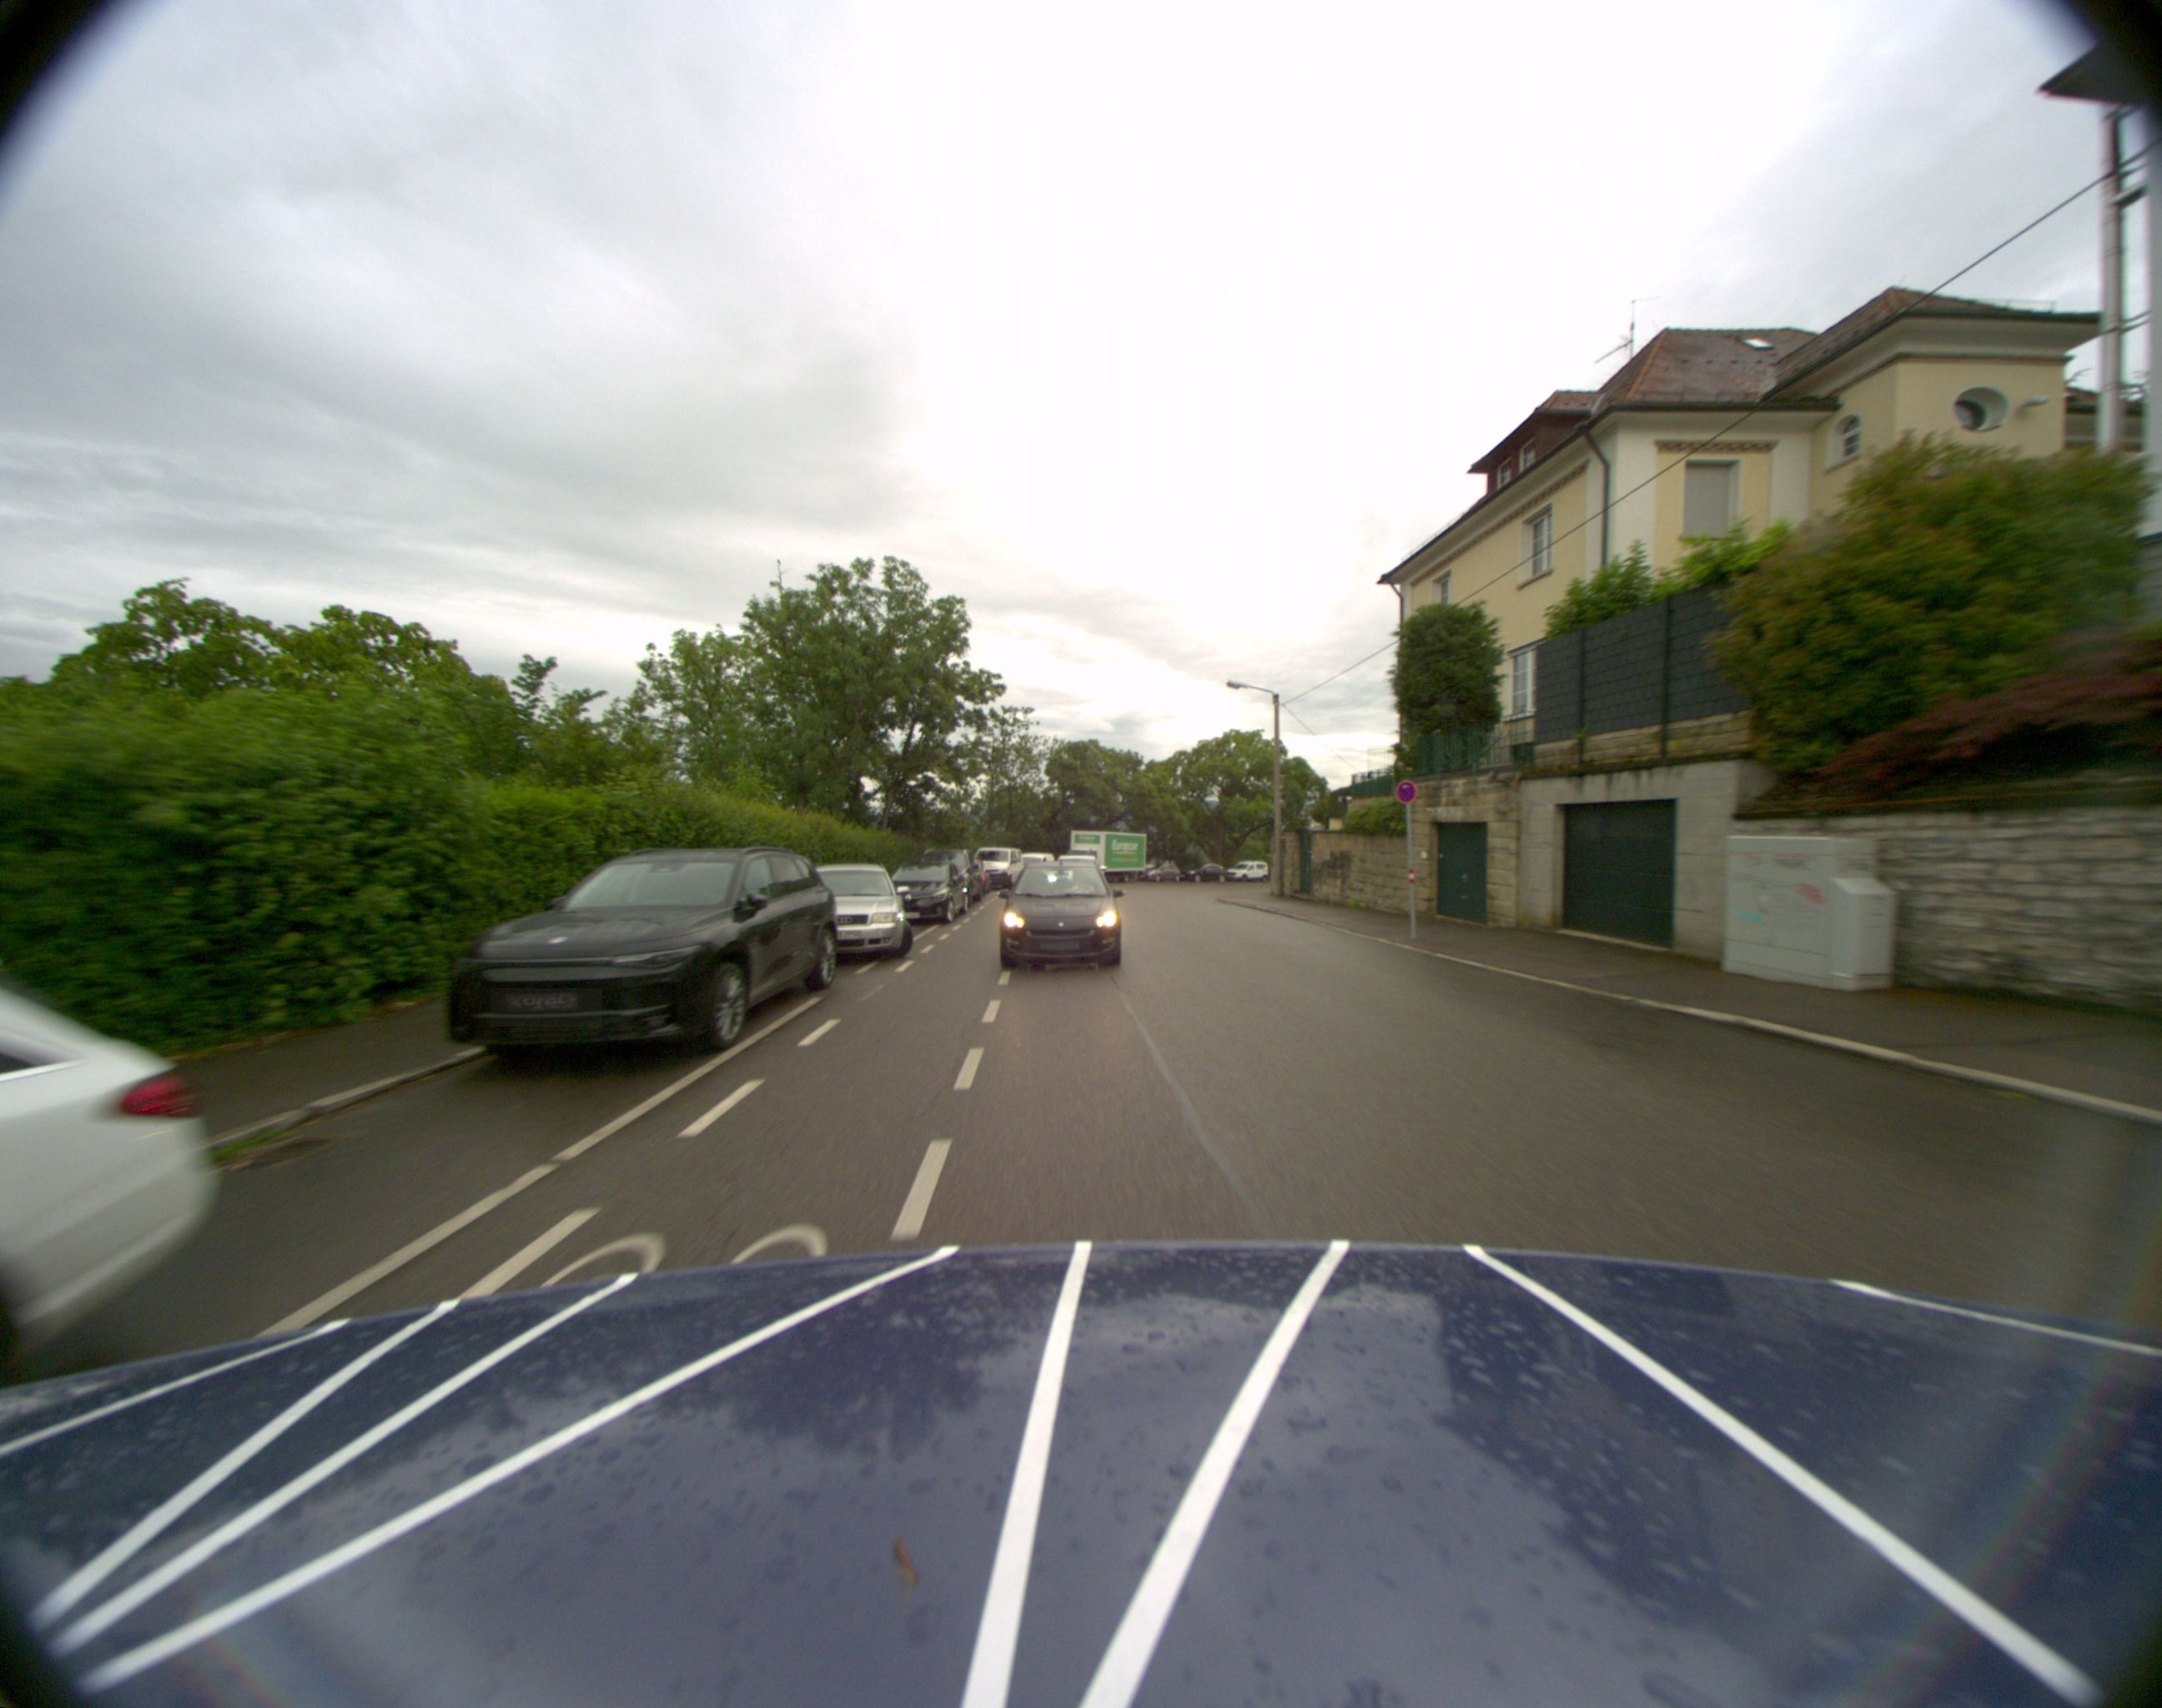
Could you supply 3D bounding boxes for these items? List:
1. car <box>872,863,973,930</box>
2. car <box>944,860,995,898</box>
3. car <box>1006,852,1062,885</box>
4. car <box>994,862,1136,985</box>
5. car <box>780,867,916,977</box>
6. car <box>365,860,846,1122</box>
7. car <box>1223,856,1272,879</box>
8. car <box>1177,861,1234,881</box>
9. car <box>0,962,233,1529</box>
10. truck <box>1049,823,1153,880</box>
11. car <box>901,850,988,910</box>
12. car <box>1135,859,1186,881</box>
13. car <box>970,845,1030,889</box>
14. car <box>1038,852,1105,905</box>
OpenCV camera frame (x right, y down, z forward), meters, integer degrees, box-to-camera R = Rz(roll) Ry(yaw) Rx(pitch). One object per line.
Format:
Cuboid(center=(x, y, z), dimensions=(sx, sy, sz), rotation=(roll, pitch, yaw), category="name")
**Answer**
Cuboid(center=(-3.831, 0.970, 18.998), dimensions=(1.693, 1.414, 3.982), rotation=(0, 1, 0), category="car")
Cuboid(center=(-4.437, 0.962, 30.596), dimensions=(1.676, 1.405, 3.741), rotation=(0, 0, -3), category="car")
Cuboid(center=(-2.574, 0.787, 42.522), dimensions=(1.862, 1.760, 4.384), rotation=(0, -1, 14), category="car")
Cuboid(center=(-0.291, 0.907, 11.883), dimensions=(1.784, 1.477, 4.404), rotation=(-1, 0, -2), category="car")
Cuboid(center=(-3.861, 0.982, 12.933), dimensions=(1.806, 1.432, 4.636), rotation=(-1, 0, -15), category="car")
Cuboid(center=(-3.867, 0.926, 7.354), dimensions=(1.892, 1.653, 4.547), rotation=(-2, 0, -2), category="car")
Cuboid(center=(14.436, 1.183, 65.815), dimensions=(4.433, 1.810, 1.747), rotation=(3, 1, -40), category="car")
Cuboid(center=(10.209, 1.406, 62.208), dimensions=(4.906, 1.533, 1.860), rotation=(2, 0, -41), category="car")
Cuboid(center=(-3.627, 1.069, 0.192), dimensions=(1.718, 1.397, 4.607), rotation=(-1, 0, -2), category="car")
Cuboid(center=(1.567, -0.072, 51.619), dimensions=(2.774, 3.450, 8.953), rotation=(4, 1, 31), category="truck")
Cuboid(center=(-4.302, 0.782, 24.766), dimensions=(2.032, 1.772, 4.898), rotation=(0, 0, -1), category="car")
Cuboid(center=(6.122, 1.249, 58.129), dimensions=(1.734, 1.494, 4.145), rotation=(3, 1, 42), category="car")
Cuboid(center=(-3.820, 0.586, 36.643), dimensions=(1.863, 1.936, 4.810), rotation=(2, 0, 6), category="car")
Cuboid(center=(-0.236, 0.810, 27.373), dimensions=(2.191, 1.698, 4.883), rotation=(-1, 0, 1), category="car")
